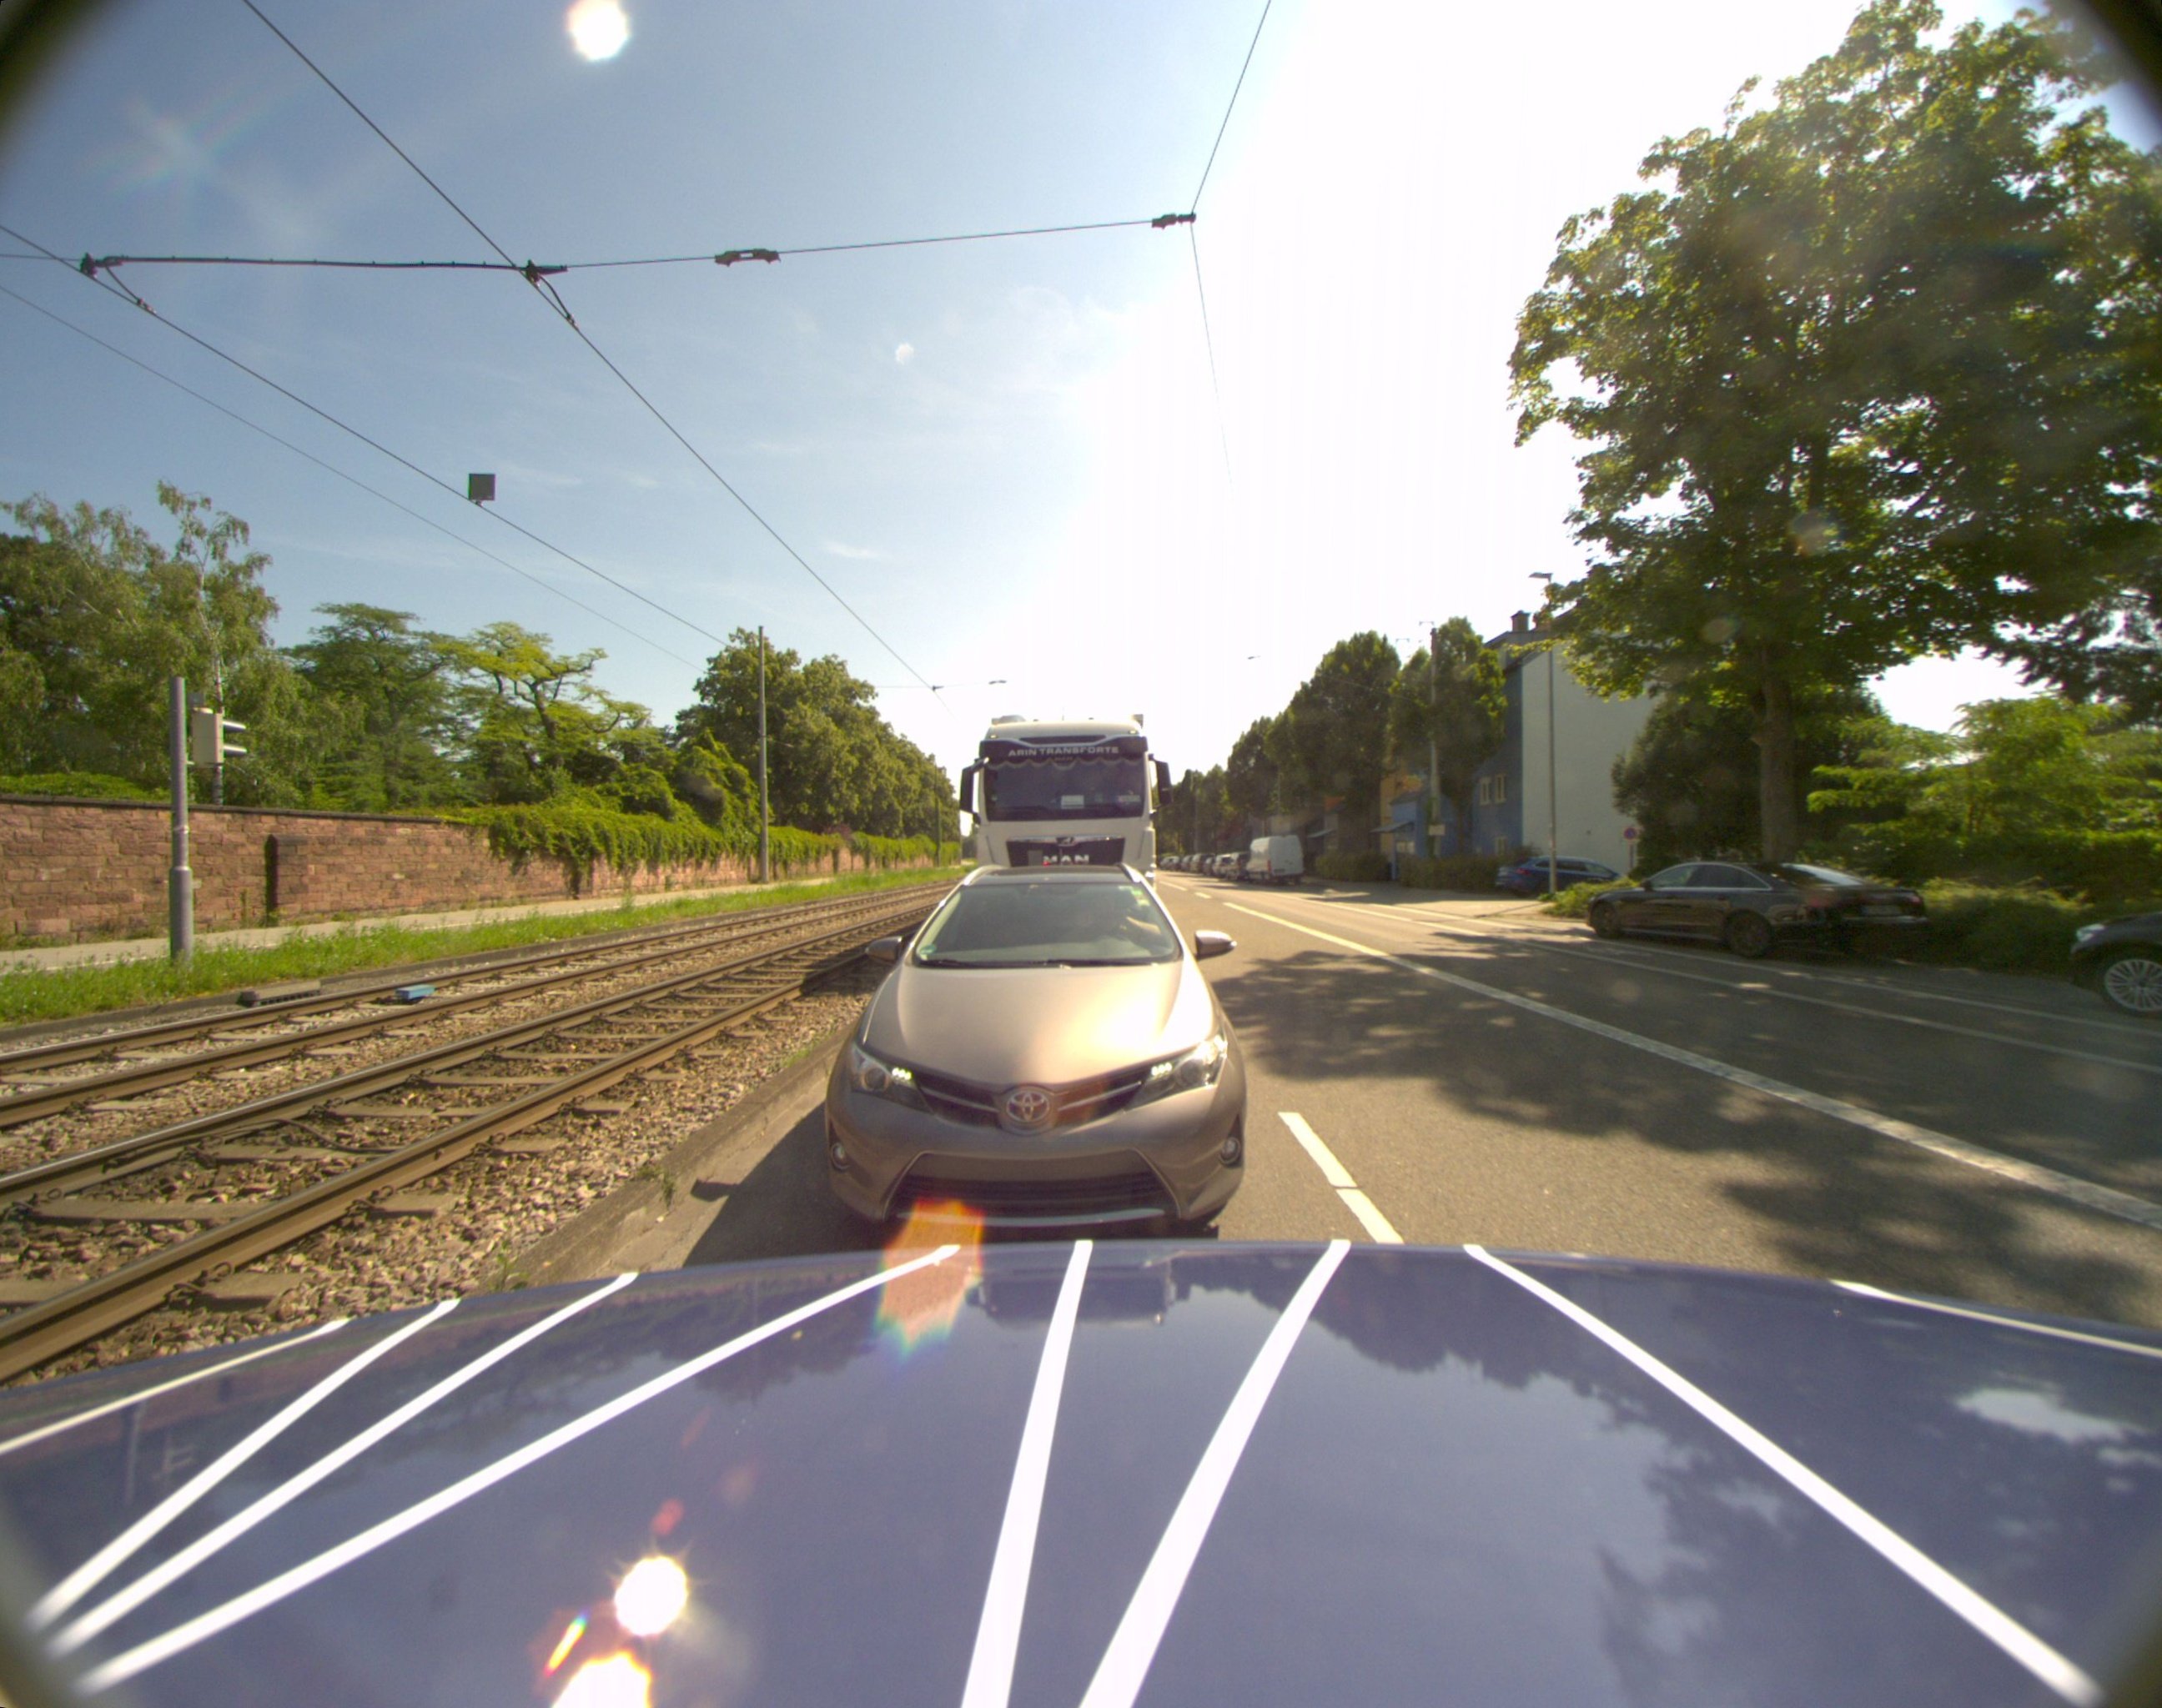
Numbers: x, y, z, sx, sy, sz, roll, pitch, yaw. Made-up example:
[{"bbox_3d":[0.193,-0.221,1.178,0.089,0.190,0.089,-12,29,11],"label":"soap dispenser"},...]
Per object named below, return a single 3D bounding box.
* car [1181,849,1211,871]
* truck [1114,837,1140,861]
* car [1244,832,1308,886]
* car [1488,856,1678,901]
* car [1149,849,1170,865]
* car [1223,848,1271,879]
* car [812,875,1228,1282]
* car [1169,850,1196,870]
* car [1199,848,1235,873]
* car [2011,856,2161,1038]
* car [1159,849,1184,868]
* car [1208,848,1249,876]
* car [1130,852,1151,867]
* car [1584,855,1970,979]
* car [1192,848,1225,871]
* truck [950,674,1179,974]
[{"bbox_3d":[11.024,0.567,73.382,1.998,1.795,4.769,-6,0,0],"label":"car"},{"bbox_3d":[6.985,-0.659,116.111,2.704,3.263,6.724,-6,0,-5],"label":"truck"},{"bbox_3d":[10.939,0.251,43.107,1.998,2.678,6.214,-6,0,2],"label":"car"},{"bbox_3d":[16.811,0.793,25.645,5.070,1.422,1.891,0,0,4],"label":"car"},{"bbox_3d":[9.926,0.366,96.910,1.998,1.795,4.769,-6,0,0],"label":"car"},{"bbox_3d":[11.142,0.639,51.409,1.998,1.795,4.769,-6,0,0],"label":"car"},{"bbox_3d":[-0.207,0.907,4.877,1.573,1.422,4.000,0,0,1],"label":"car"},{"bbox_3d":[10.573,0.643,79.171,1.998,1.795,4.769,-6,0,0],"label":"car"},{"bbox_3d":[11.223,0.524,62.867,1.998,1.795,4.256,-6,0,0],"label":"car"},{"bbox_3d":[10.592,0.831,5.574,1.868,1.562,4.621,-2,0,0],"label":"car"},{"bbox_3d":[10.189,0.494,85.915,1.998,1.795,4.769,-6,0,0],"label":"car"},{"bbox_3d":[11.084,0.583,57.384,1.998,1.795,4.769,-6,0,0],"label":"car"},{"bbox_3d":[8.279,0.811,105.573,1.999,1.795,5.111,-6,0,-4],"label":"car"},{"bbox_3d":[10.567,0.822,12.164,1.868,1.562,4.621,-1,0,-2],"label":"car"},{"bbox_3d":[11.292,0.497,67.678,1.998,1.795,4.769,-6,0,0],"label":"car"},{"bbox_3d":[-0.120,-0.406,17.233,2.935,3.856,14.913,0,0,1],"label":"truck"}]
